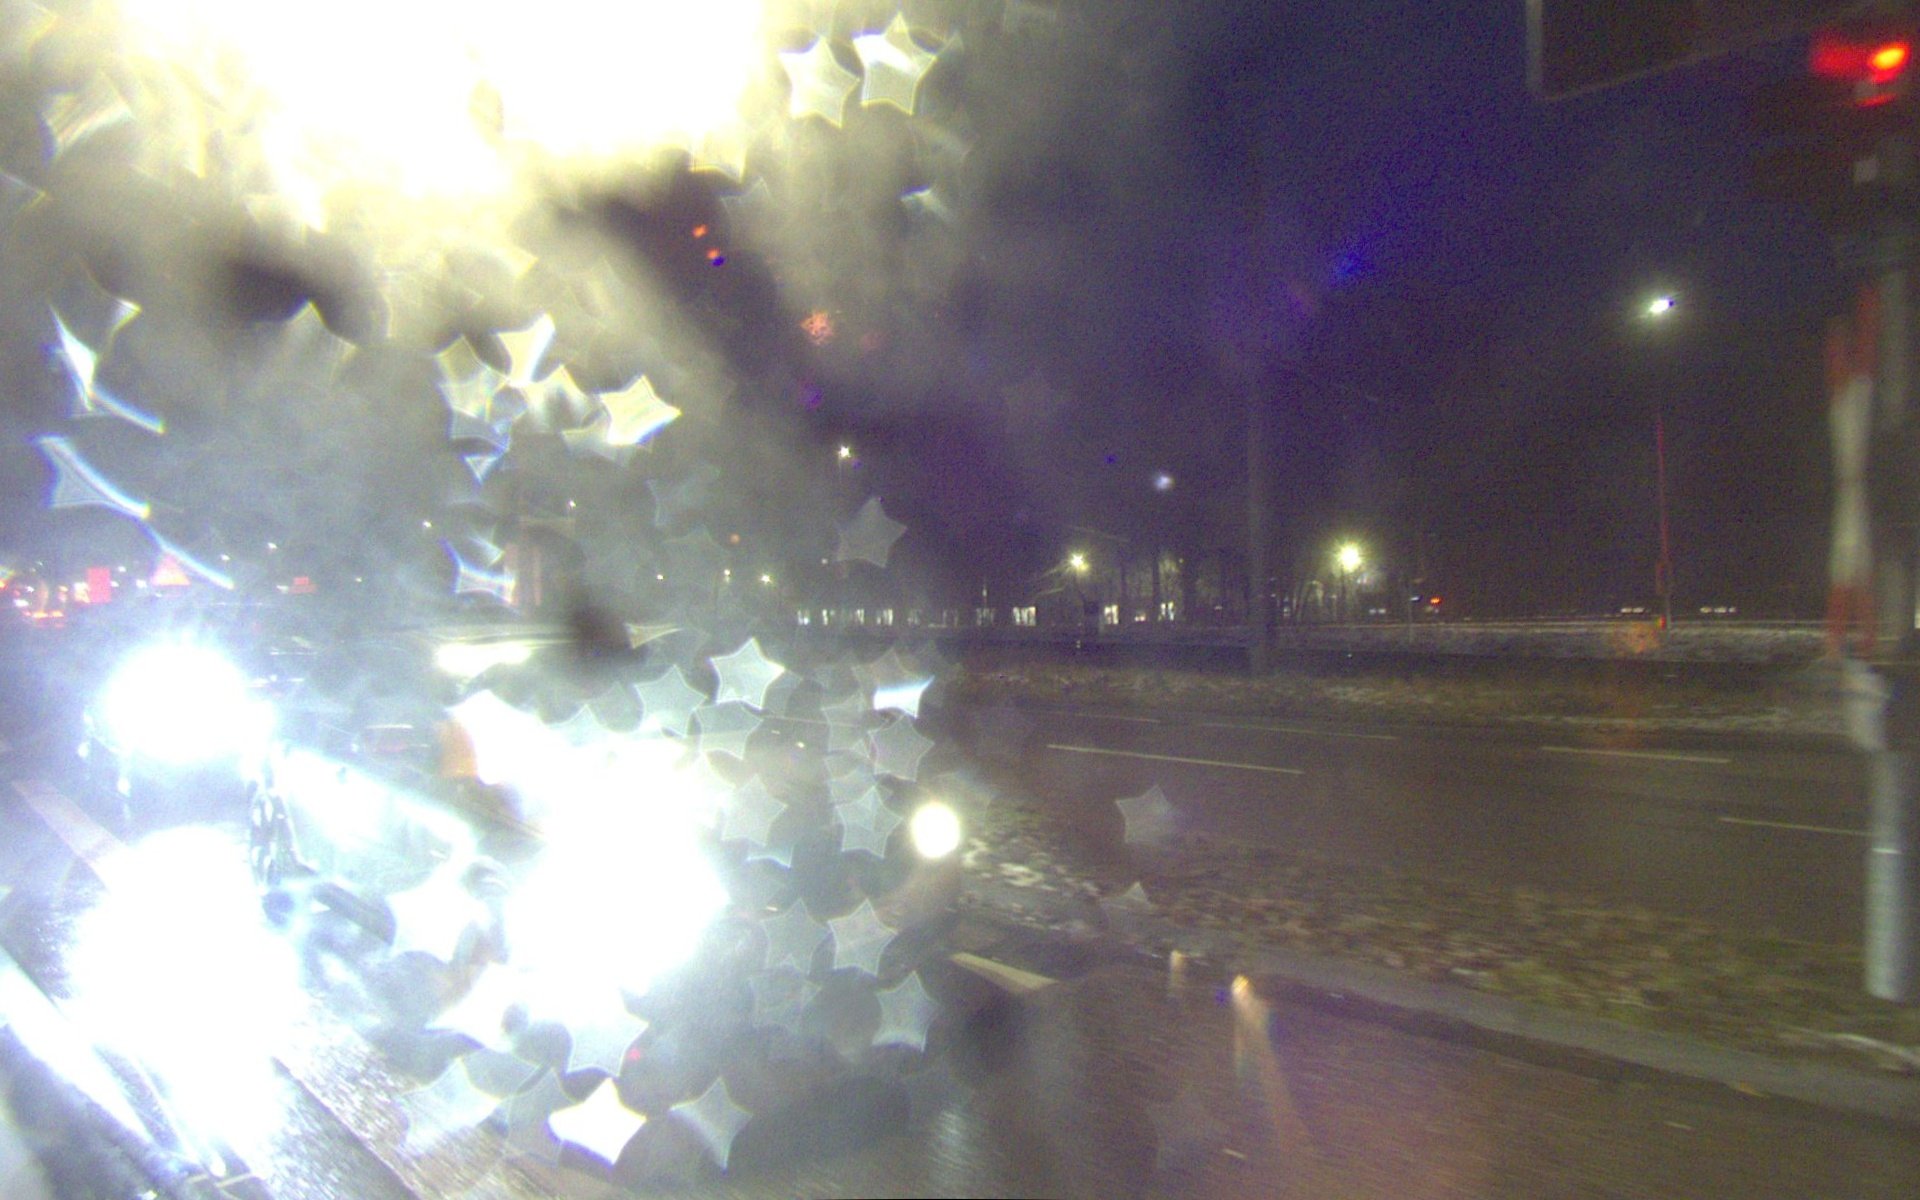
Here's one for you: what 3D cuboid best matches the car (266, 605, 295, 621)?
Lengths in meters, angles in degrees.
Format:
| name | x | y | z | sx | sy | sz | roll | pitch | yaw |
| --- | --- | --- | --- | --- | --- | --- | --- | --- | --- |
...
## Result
| name | x | y | z | sx | sy | sz | roll | pitch | yaw |
| --- | --- | --- | --- | --- | --- | --- | --- | --- | --- |
| car | -76.681 | 1.462 | 114.164 | 4.220 | 1.706 | 1.766 | -1 | 1 | 44 |

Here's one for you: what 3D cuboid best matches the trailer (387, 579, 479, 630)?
| name | x | y | z | sx | sy | sz | roll | pitch | yaw |
| --- | --- | --- | --- | --- | --- | --- | --- | --- | --- |
| trailer | -53.613 | 0.389 | 102.697 | 3.927 | 4.643 | 14.256 | -6 | 4 | -45 |

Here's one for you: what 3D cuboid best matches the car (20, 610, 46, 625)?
| name | x | y | z | sx | sy | sz | roll | pitch | yaw |
| --- | --- | --- | --- | --- | --- | --- | --- | --- | --- |
| car | -102.225 | 1.922 | 111.599 | 4.031 | 1.600 | 1.782 | 0 | 1 | 43 |

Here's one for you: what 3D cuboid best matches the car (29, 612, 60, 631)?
| name | x | y | z | sx | sy | sz | roll | pitch | yaw |
| --- | --- | --- | --- | --- | --- | --- | --- | --- | --- |
| car | -87.882 | 2.052 | 97.134 | 4.651 | 1.654 | 1.742 | -1 | 1 | 42 |

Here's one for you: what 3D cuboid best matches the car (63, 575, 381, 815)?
| name | x | y | z | sx | sy | sz | roll | pitch | yaw |
| --- | --- | --- | --- | --- | --- | --- | --- | --- | --- |
| car | -7.268 | 0.743 | 9.764 | 4.437 | 1.795 | 1.764 | -1 | -1 | 44 |

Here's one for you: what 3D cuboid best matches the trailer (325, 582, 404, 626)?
| name | x | y | z | sx | sy | sz | roll | pitch | yaw |
| --- | --- | --- | --- | --- | --- | --- | --- | --- | --- |
| trailer | -69.545 | 0.375 | 117.919 | 3.927 | 4.643 | 15.525 | -6 | 4 | -45 |

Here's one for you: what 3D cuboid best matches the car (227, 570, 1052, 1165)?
| name | x | y | z | sx | sy | sz | roll | pitch | yaw |
| --- | --- | --- | --- | --- | --- | --- | --- | --- | --- |
| car | -1.860 | 0.729 | 4.772 | 4.436 | 1.522 | 1.764 | -1 | -2 | 43 |

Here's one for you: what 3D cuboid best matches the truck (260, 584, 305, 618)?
| name | x | y | z | sx | sy | sz | roll | pitch | yaw |
| --- | --- | --- | --- | --- | --- | --- | --- | --- | --- |
| truck | -99.724 | 0.101 | 148.923 | 3.401 | 4.643 | 10.219 | -6 | 4 | -45 |
